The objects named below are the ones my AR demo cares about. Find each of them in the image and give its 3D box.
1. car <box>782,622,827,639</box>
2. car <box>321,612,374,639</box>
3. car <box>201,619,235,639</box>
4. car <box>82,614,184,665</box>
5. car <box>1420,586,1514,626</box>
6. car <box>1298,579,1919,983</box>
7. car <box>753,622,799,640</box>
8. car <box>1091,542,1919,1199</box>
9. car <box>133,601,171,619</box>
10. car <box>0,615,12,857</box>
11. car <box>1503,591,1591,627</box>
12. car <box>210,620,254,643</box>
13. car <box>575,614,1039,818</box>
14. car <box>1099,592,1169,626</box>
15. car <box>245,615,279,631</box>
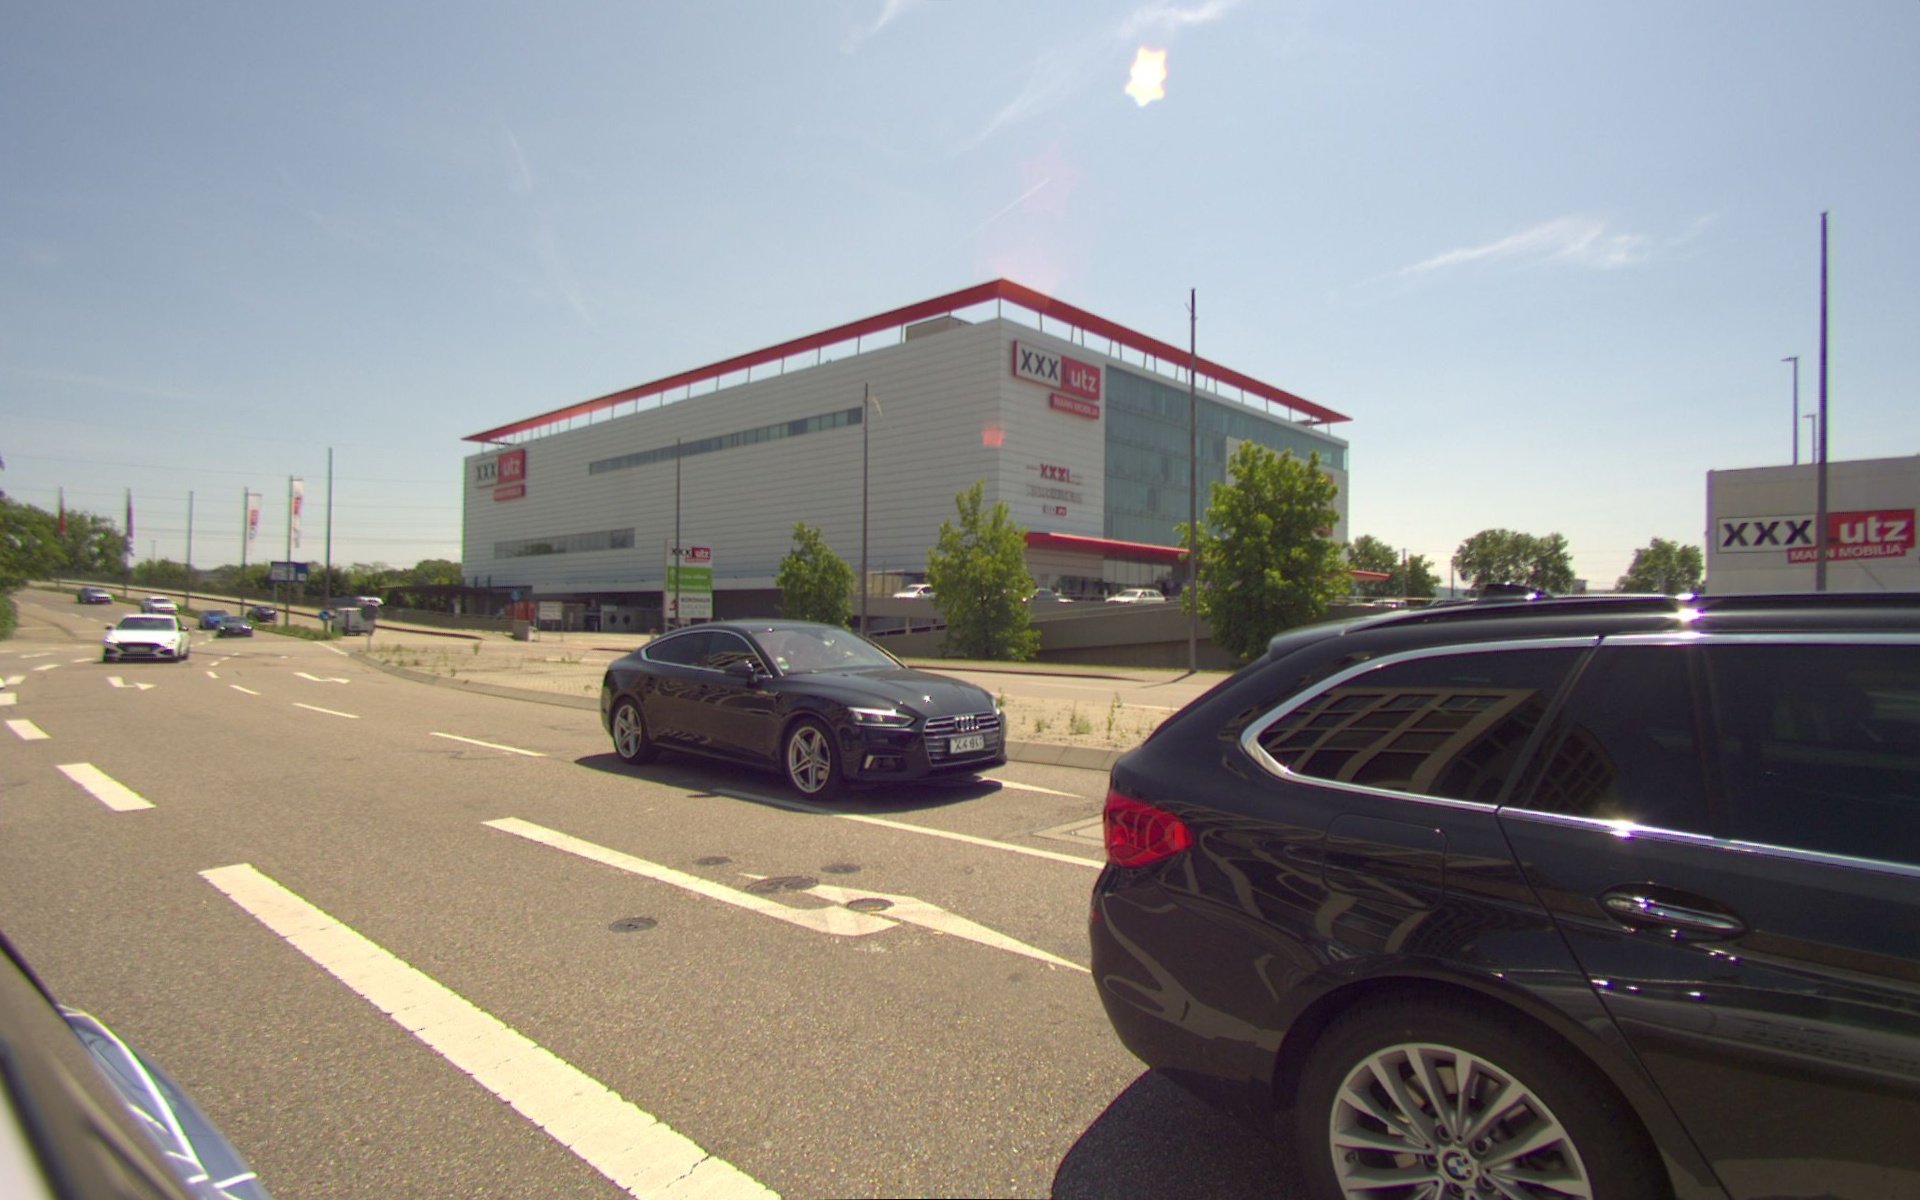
[{"bbox_3d":[-13.915,2.750,90.610,1.959,1.507,3.436,0,-2,42],"label":"car"},{"bbox_3d":[-43.737,1.813,72.249,4.837,1.864,1.812,-1,-2,41],"label":"car"},{"bbox_3d":[-56.739,2.217,77.356,1.775,1.424,4.412,0,-1,-41],"label":"car"},{"bbox_3d":[-25.250,1.165,30.846,4.228,1.461,1.712,-1,-2,41],"label":"car"},{"bbox_3d":[26.151,0.332,52.239,3.998,1.946,1.973,-1,-2,41],"label":"car"},{"bbox_3d":[3.844,0.685,4.695,3.991,1.505,1.782,-1,-1,36],"label":"car"},{"bbox_3d":[-16.929,2.845,93.207,1.911,1.632,3.698,0,-2,41],"label":"car"},{"bbox_3d":[2.648,0.643,1.642,4.620,1.477,1.781,-1,-1,40],"label":"car"},{"bbox_3d":[-71.959,0.883,90.115,4.049,1.587,1.660,-1,-2,37],"label":"car"},{"bbox_3d":[-7.933,0.837,6.696,4.401,1.436,1.857,-1,-1,39],"label":"car"},{"bbox_3d":[32.452,0.515,55.988,3.996,1.923,1.974,-1,-2,39],"label":"car"},{"bbox_3d":[-47.340,2.021,65.776,1.776,1.388,4.410,1,-1,-43],"label":"car"},{"bbox_3d":[-1.601,0.858,9.186,4.533,1.401,1.729,-2,-2,43],"label":"car"},{"bbox_3d":[9.925,0.542,57.572,2.001,1.781,4.140,0,-2,44],"label":"car"},{"bbox_3d":[-62.281,2.032,90.263,3.895,1.312,1.834,-1,-3,45],"label":"car"}]
